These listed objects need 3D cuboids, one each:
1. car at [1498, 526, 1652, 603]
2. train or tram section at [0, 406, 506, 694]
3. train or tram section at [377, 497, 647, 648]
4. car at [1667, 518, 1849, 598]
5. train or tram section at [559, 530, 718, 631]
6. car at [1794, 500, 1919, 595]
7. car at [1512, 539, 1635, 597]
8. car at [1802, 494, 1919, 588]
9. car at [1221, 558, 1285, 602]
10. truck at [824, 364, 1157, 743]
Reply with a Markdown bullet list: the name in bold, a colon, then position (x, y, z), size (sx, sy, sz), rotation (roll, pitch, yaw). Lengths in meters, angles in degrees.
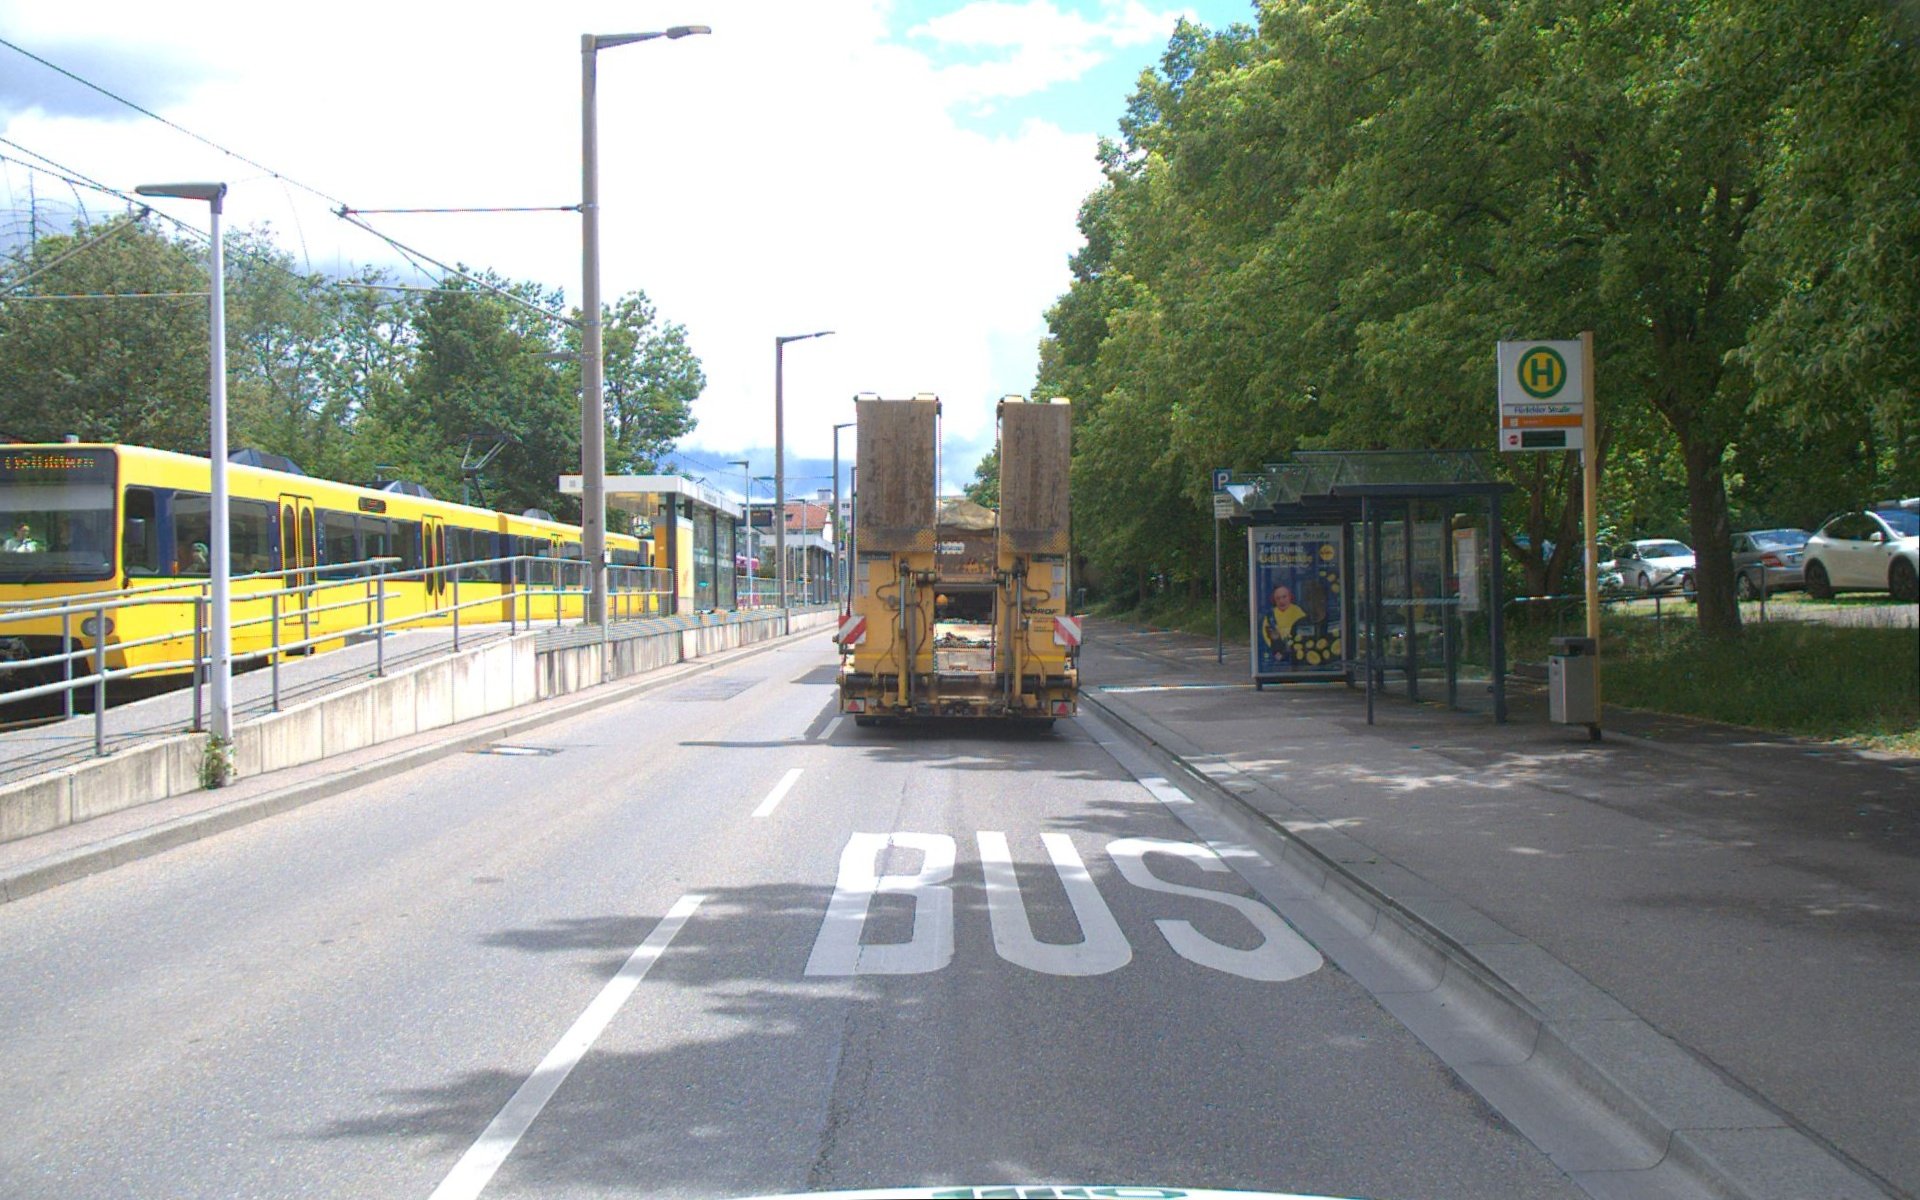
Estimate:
- **car**: position (14.311, -0.783, 38.783), size (1.809, 1.691, 4.723), rotation (0, 0, -1)
- **train or tram section**: position (-12.155, -0.641, 29.723), size (3.045, 3.525, 18.822), rotation (1, 0, -1)
- **train or tram section**: position (-12.403, -0.671, 48.678), size (3.045, 3.525, 18.992), rotation (1, 0, -1)
- **car**: position (16.520, -0.820, 34.497), size (1.580, 1.467, 4.352), rotation (-4, 0, -1)
- **train or tram section**: position (-12.706, -0.702, 67.762), size (3.045, 3.525, 19.194), rotation (1, 0, -1)
- **car**: position (16.619, -0.952, 29.299), size (1.440, 1.582, 4.433), rotation (-4, 1, 1)
- **car**: position (16.952, -0.846, 45.883), size (1.803, 1.445, 4.123), rotation (-3, 0, 0)
- **car**: position (19.572, -1.233, 34.664), size (1.580, 1.821, 4.207), rotation (-4, 0, -1)
- **car**: position (11.346, -0.759, 64.354), size (1.680, 1.534, 4.159), rotation (-4, 0, 0)
- **truck**: position (-0.056, -0.496, 23.595), size (3.334, 3.797, 13.729), rotation (-1, 0, -3)
